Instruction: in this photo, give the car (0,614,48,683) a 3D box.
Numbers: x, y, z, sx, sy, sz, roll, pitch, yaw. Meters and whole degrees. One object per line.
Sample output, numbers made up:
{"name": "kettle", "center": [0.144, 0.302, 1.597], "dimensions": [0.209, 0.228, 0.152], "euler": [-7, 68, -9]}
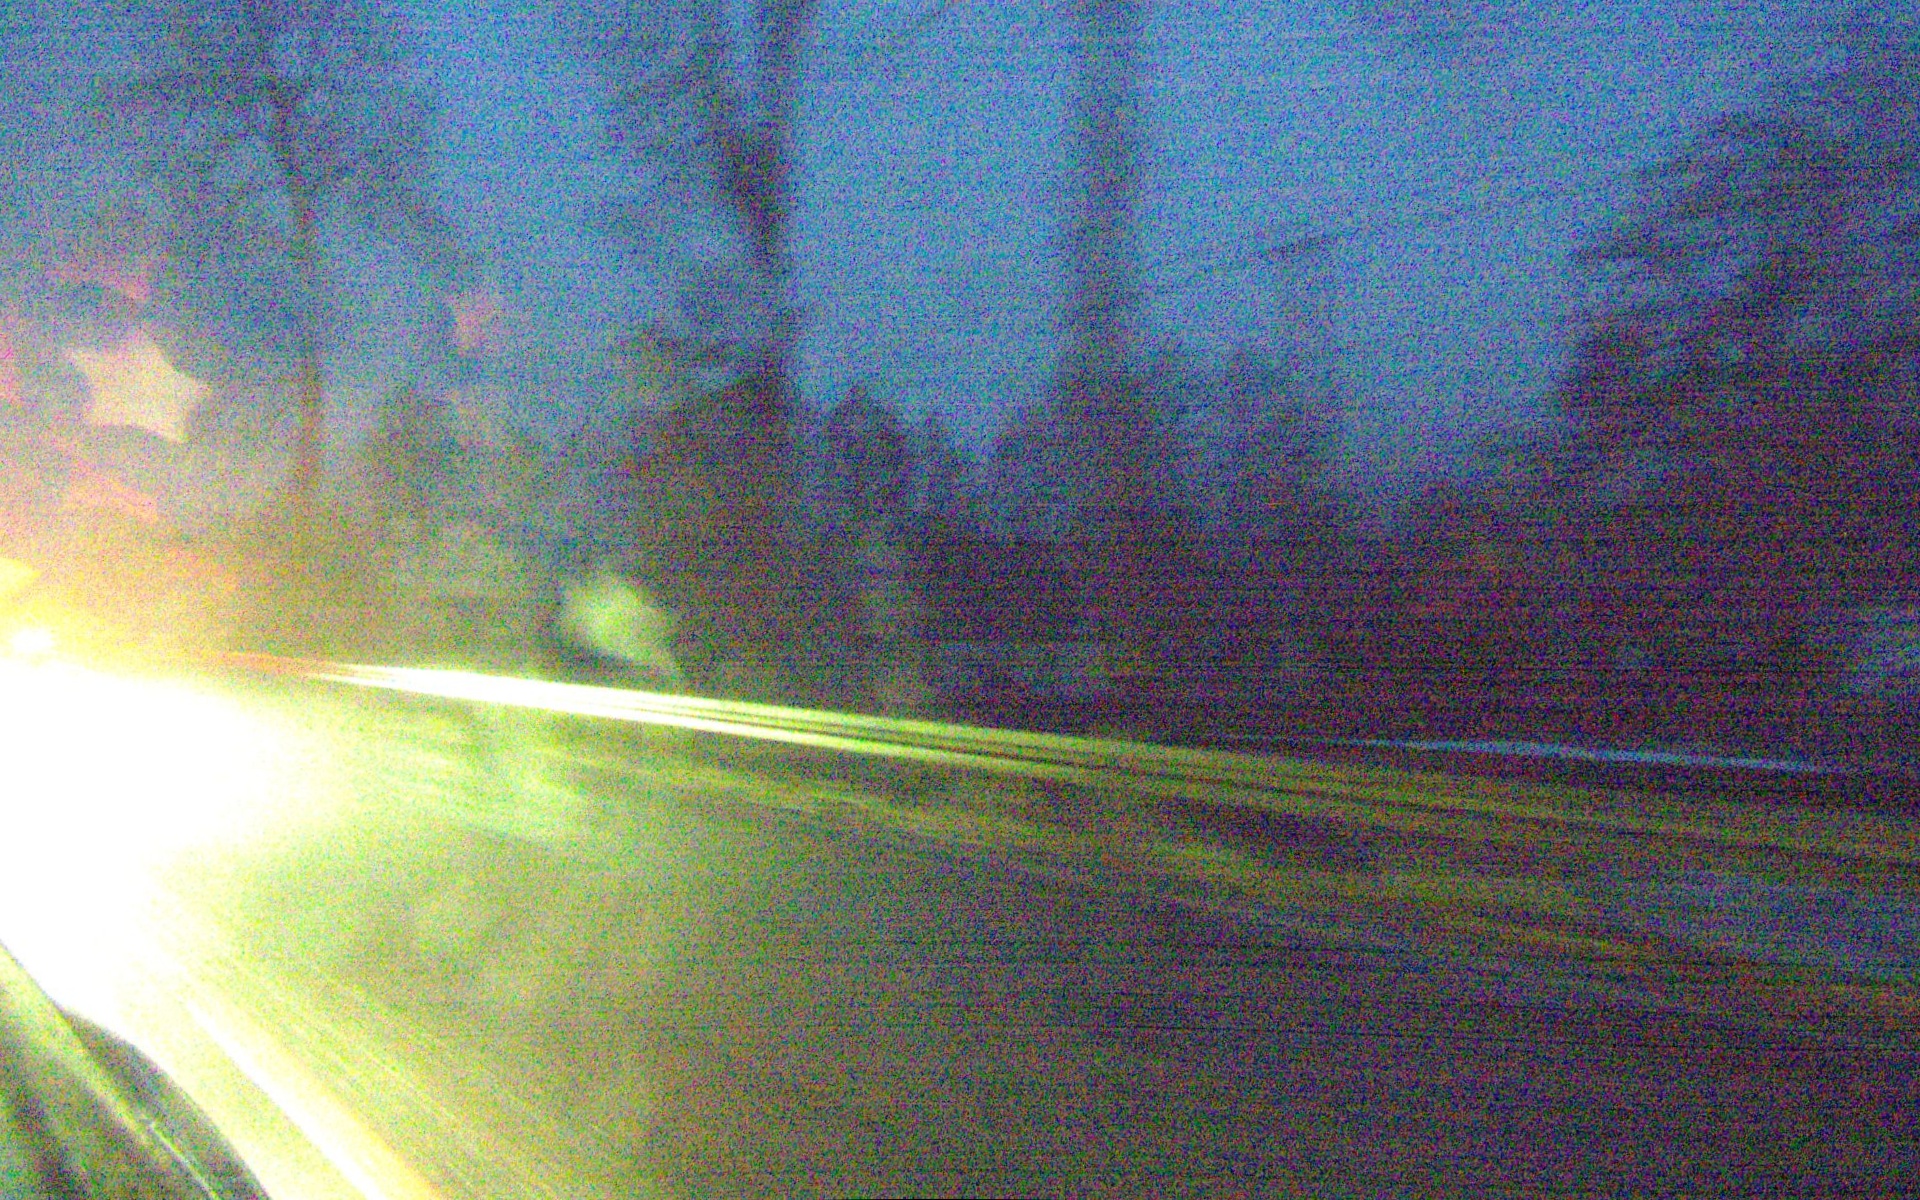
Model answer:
{"name": "car", "center": [-22.969, 1.078, 23.789], "dimensions": [4.575, 1.482, 1.898], "euler": [0, -1, 43]}
